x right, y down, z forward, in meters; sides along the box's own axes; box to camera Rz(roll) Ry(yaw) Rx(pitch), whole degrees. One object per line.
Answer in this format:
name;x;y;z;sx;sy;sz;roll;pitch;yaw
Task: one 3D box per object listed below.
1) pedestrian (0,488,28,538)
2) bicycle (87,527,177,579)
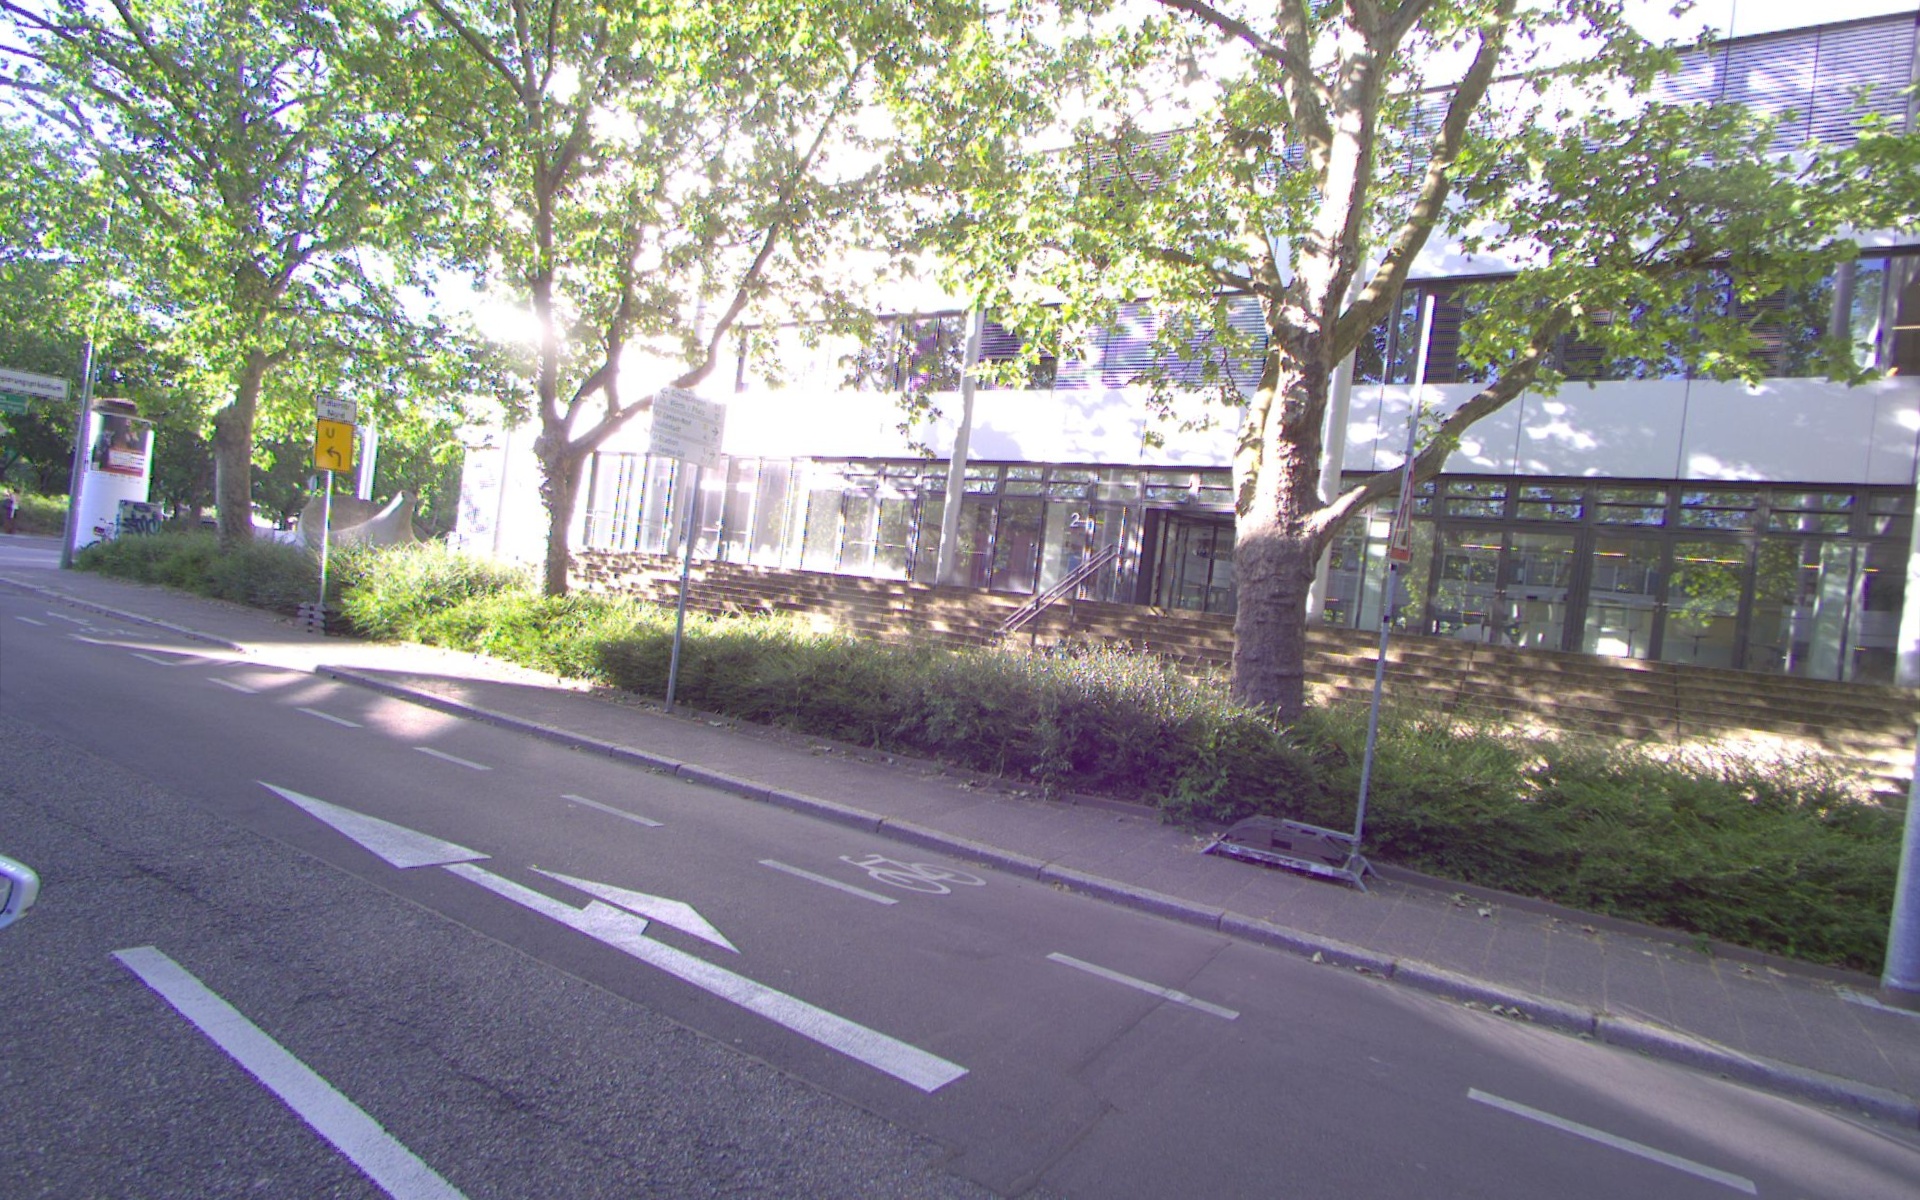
pedestrian;-36.278;-3.320;38.416;0.672;1.793;0.613;8;-1;-29
bicycle;-19.044;-1.070;23.170;0.295;0.991;1.484;6;-2;37
